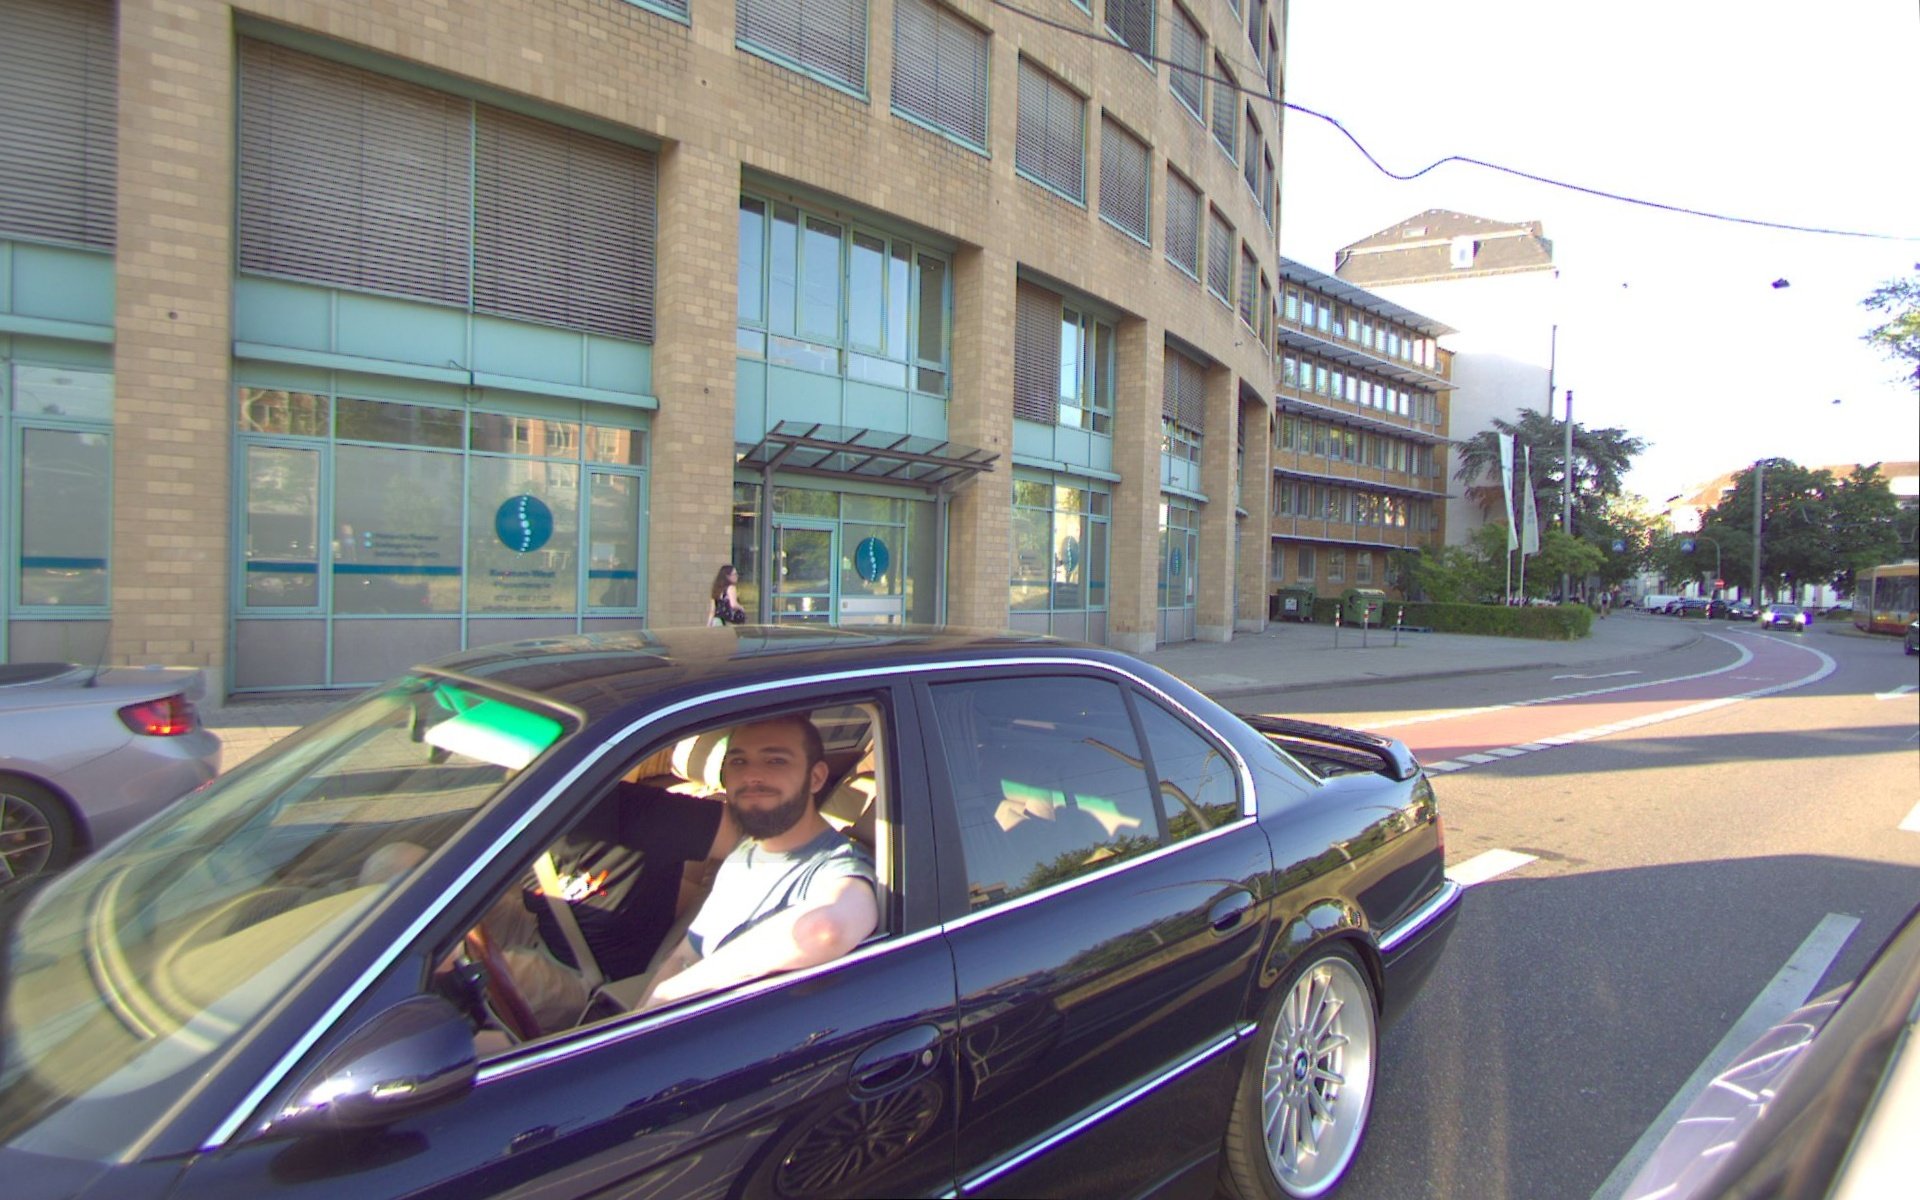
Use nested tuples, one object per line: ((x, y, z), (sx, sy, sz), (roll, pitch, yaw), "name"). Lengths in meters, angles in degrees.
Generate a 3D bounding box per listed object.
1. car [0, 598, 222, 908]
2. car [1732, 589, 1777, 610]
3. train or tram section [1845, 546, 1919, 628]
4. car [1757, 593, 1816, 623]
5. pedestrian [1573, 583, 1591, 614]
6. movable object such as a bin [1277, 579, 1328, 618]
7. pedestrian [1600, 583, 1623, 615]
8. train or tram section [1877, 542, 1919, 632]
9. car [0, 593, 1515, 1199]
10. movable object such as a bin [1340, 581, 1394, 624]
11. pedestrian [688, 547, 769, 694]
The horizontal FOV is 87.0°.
((-5.908, 0.700, 4.473), (4.153, 1.403, 1.746), (0, 0, -41), "car")
((54.270, -0.034, 69.121), (3.932, 1.405, 1.756), (0, -1, -42), "car")
((47.715, -0.656, 51.432), (2.869, 3.785, 12.027), (2, 1, 36), "train or tram section")
((44.747, 0.420, 54.857), (1.986, 1.479, 4.095), (2, 1, 33), "car")
((37.561, -0.080, 61.108), (0.711, 1.830, 0.728), (0, 1, -41), "pedestrian")
((13.354, -0.079, 39.506), (1.310, 1.477, 1.425), (0, 1, -43), "movable object such as a bin")
((40.152, -0.091, 62.405), (0.899, 1.918, 1.120), (1, 1, 18), "pedestrian")
((41.384, -0.499, 41.303), (2.893, 3.785, 13.082), (2, 1, 29), "train or tram section")
((-0.712, 0.701, 2.330), (4.656, 1.402, 1.997), (0, 1, -41), "car")
((14.872, 0.074, 36.962), (1.311, 1.477, 1.424), (0, 1, -45), "movable object such as a bin")
((-2.781, 0.230, 12.158), (0.702, 1.702, 0.626), (0, 1, -44), "pedestrian")
